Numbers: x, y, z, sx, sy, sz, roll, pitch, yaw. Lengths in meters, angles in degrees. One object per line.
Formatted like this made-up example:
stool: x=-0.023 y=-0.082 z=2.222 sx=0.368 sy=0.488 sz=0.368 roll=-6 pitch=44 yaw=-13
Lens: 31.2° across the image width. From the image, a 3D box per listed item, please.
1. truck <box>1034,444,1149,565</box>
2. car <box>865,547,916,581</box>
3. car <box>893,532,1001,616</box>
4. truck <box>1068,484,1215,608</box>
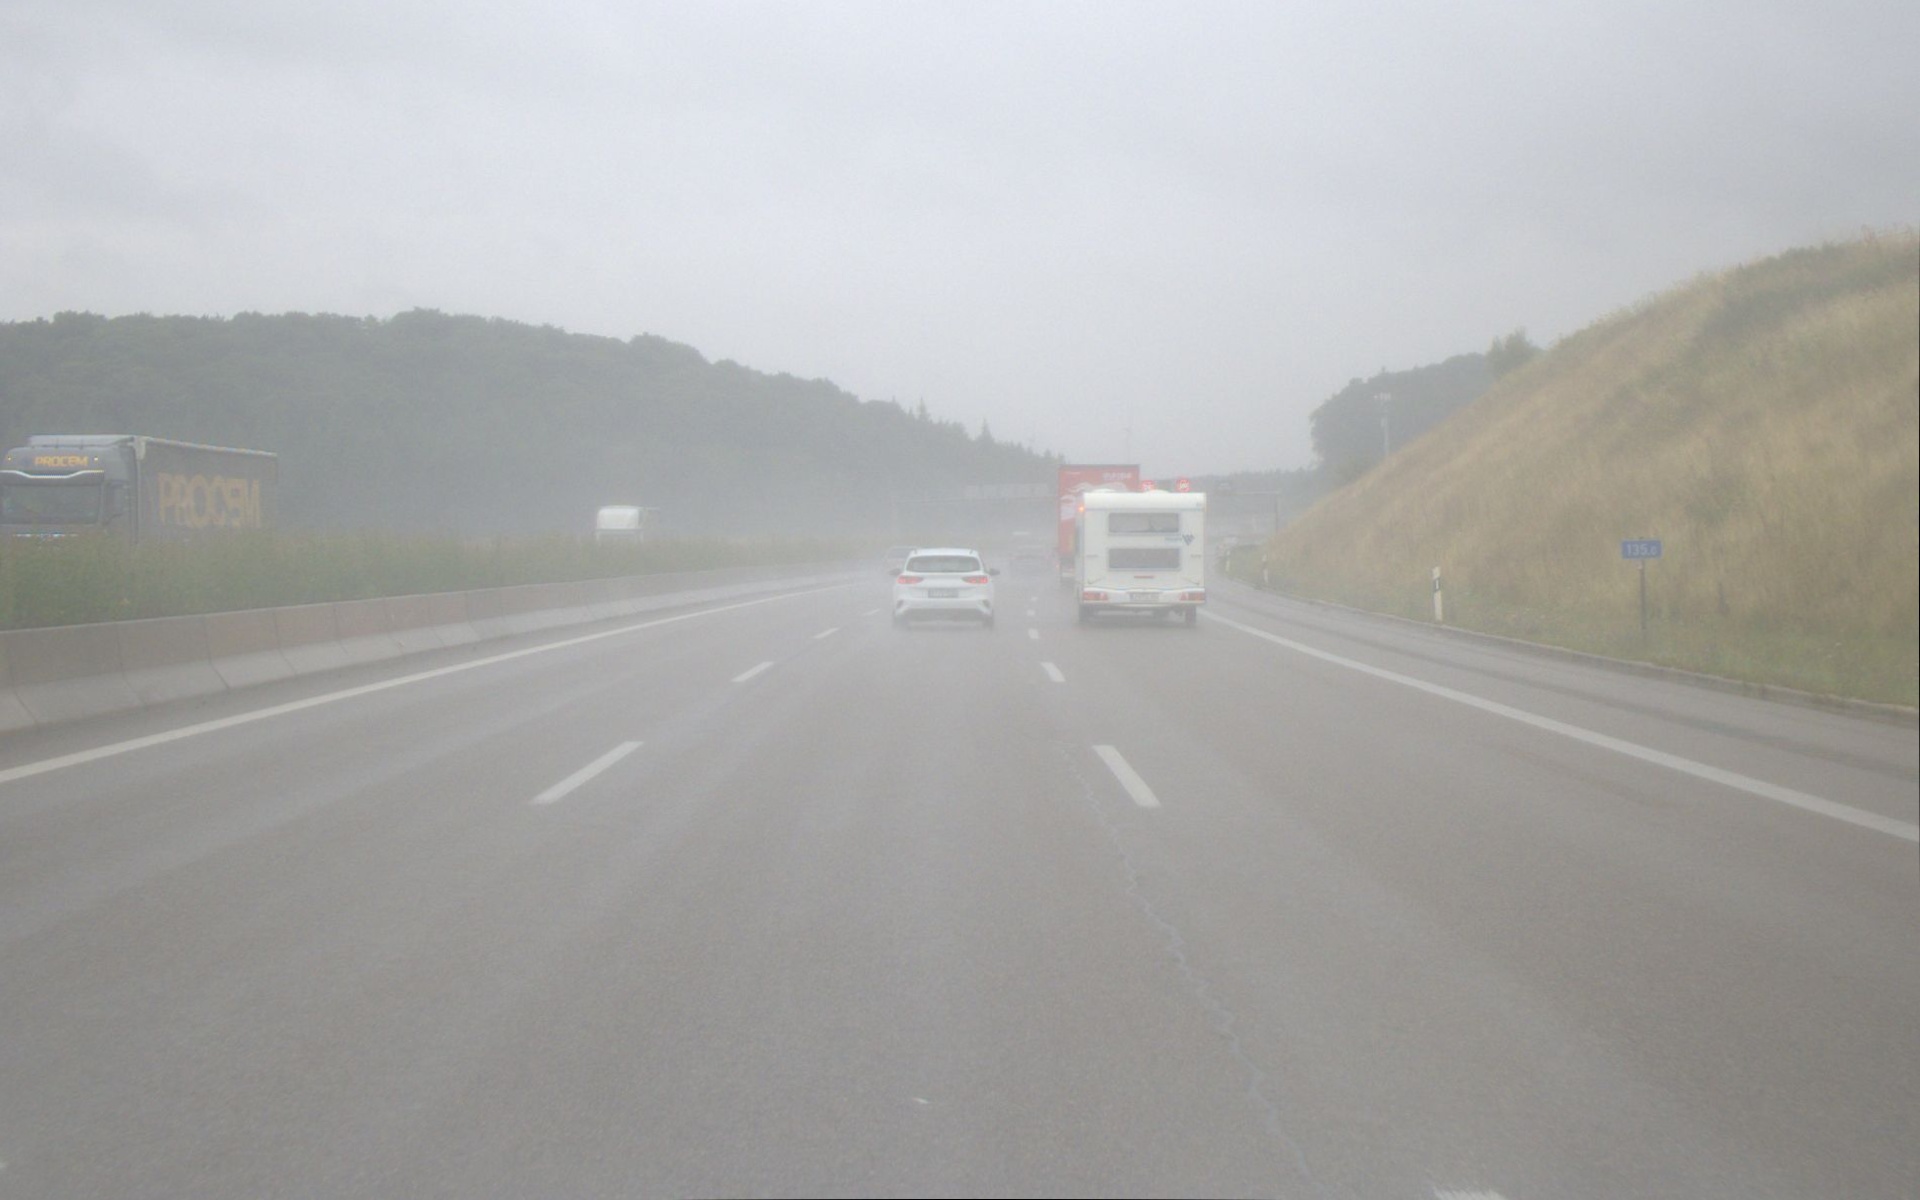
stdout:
truck: x=4.367 y=-3.144 z=112.901 sx=3.527 sy=3.730 sz=11.425 roll=1 pitch=2 yaw=3
car: x=-2.530 y=-1.317 z=125.147 sx=1.823 sy=1.152 sz=4.213 roll=0 pitch=0 yaw=-1
car: x=-0.263 y=-0.452 z=61.761 sx=1.867 sy=1.458 sz=4.000 roll=0 pitch=0 yaw=-1
truck: x=3.363 y=-1.006 z=64.503 sx=2.407 sy=2.244 sz=4.693 roll=0 pitch=1 yaw=-1
